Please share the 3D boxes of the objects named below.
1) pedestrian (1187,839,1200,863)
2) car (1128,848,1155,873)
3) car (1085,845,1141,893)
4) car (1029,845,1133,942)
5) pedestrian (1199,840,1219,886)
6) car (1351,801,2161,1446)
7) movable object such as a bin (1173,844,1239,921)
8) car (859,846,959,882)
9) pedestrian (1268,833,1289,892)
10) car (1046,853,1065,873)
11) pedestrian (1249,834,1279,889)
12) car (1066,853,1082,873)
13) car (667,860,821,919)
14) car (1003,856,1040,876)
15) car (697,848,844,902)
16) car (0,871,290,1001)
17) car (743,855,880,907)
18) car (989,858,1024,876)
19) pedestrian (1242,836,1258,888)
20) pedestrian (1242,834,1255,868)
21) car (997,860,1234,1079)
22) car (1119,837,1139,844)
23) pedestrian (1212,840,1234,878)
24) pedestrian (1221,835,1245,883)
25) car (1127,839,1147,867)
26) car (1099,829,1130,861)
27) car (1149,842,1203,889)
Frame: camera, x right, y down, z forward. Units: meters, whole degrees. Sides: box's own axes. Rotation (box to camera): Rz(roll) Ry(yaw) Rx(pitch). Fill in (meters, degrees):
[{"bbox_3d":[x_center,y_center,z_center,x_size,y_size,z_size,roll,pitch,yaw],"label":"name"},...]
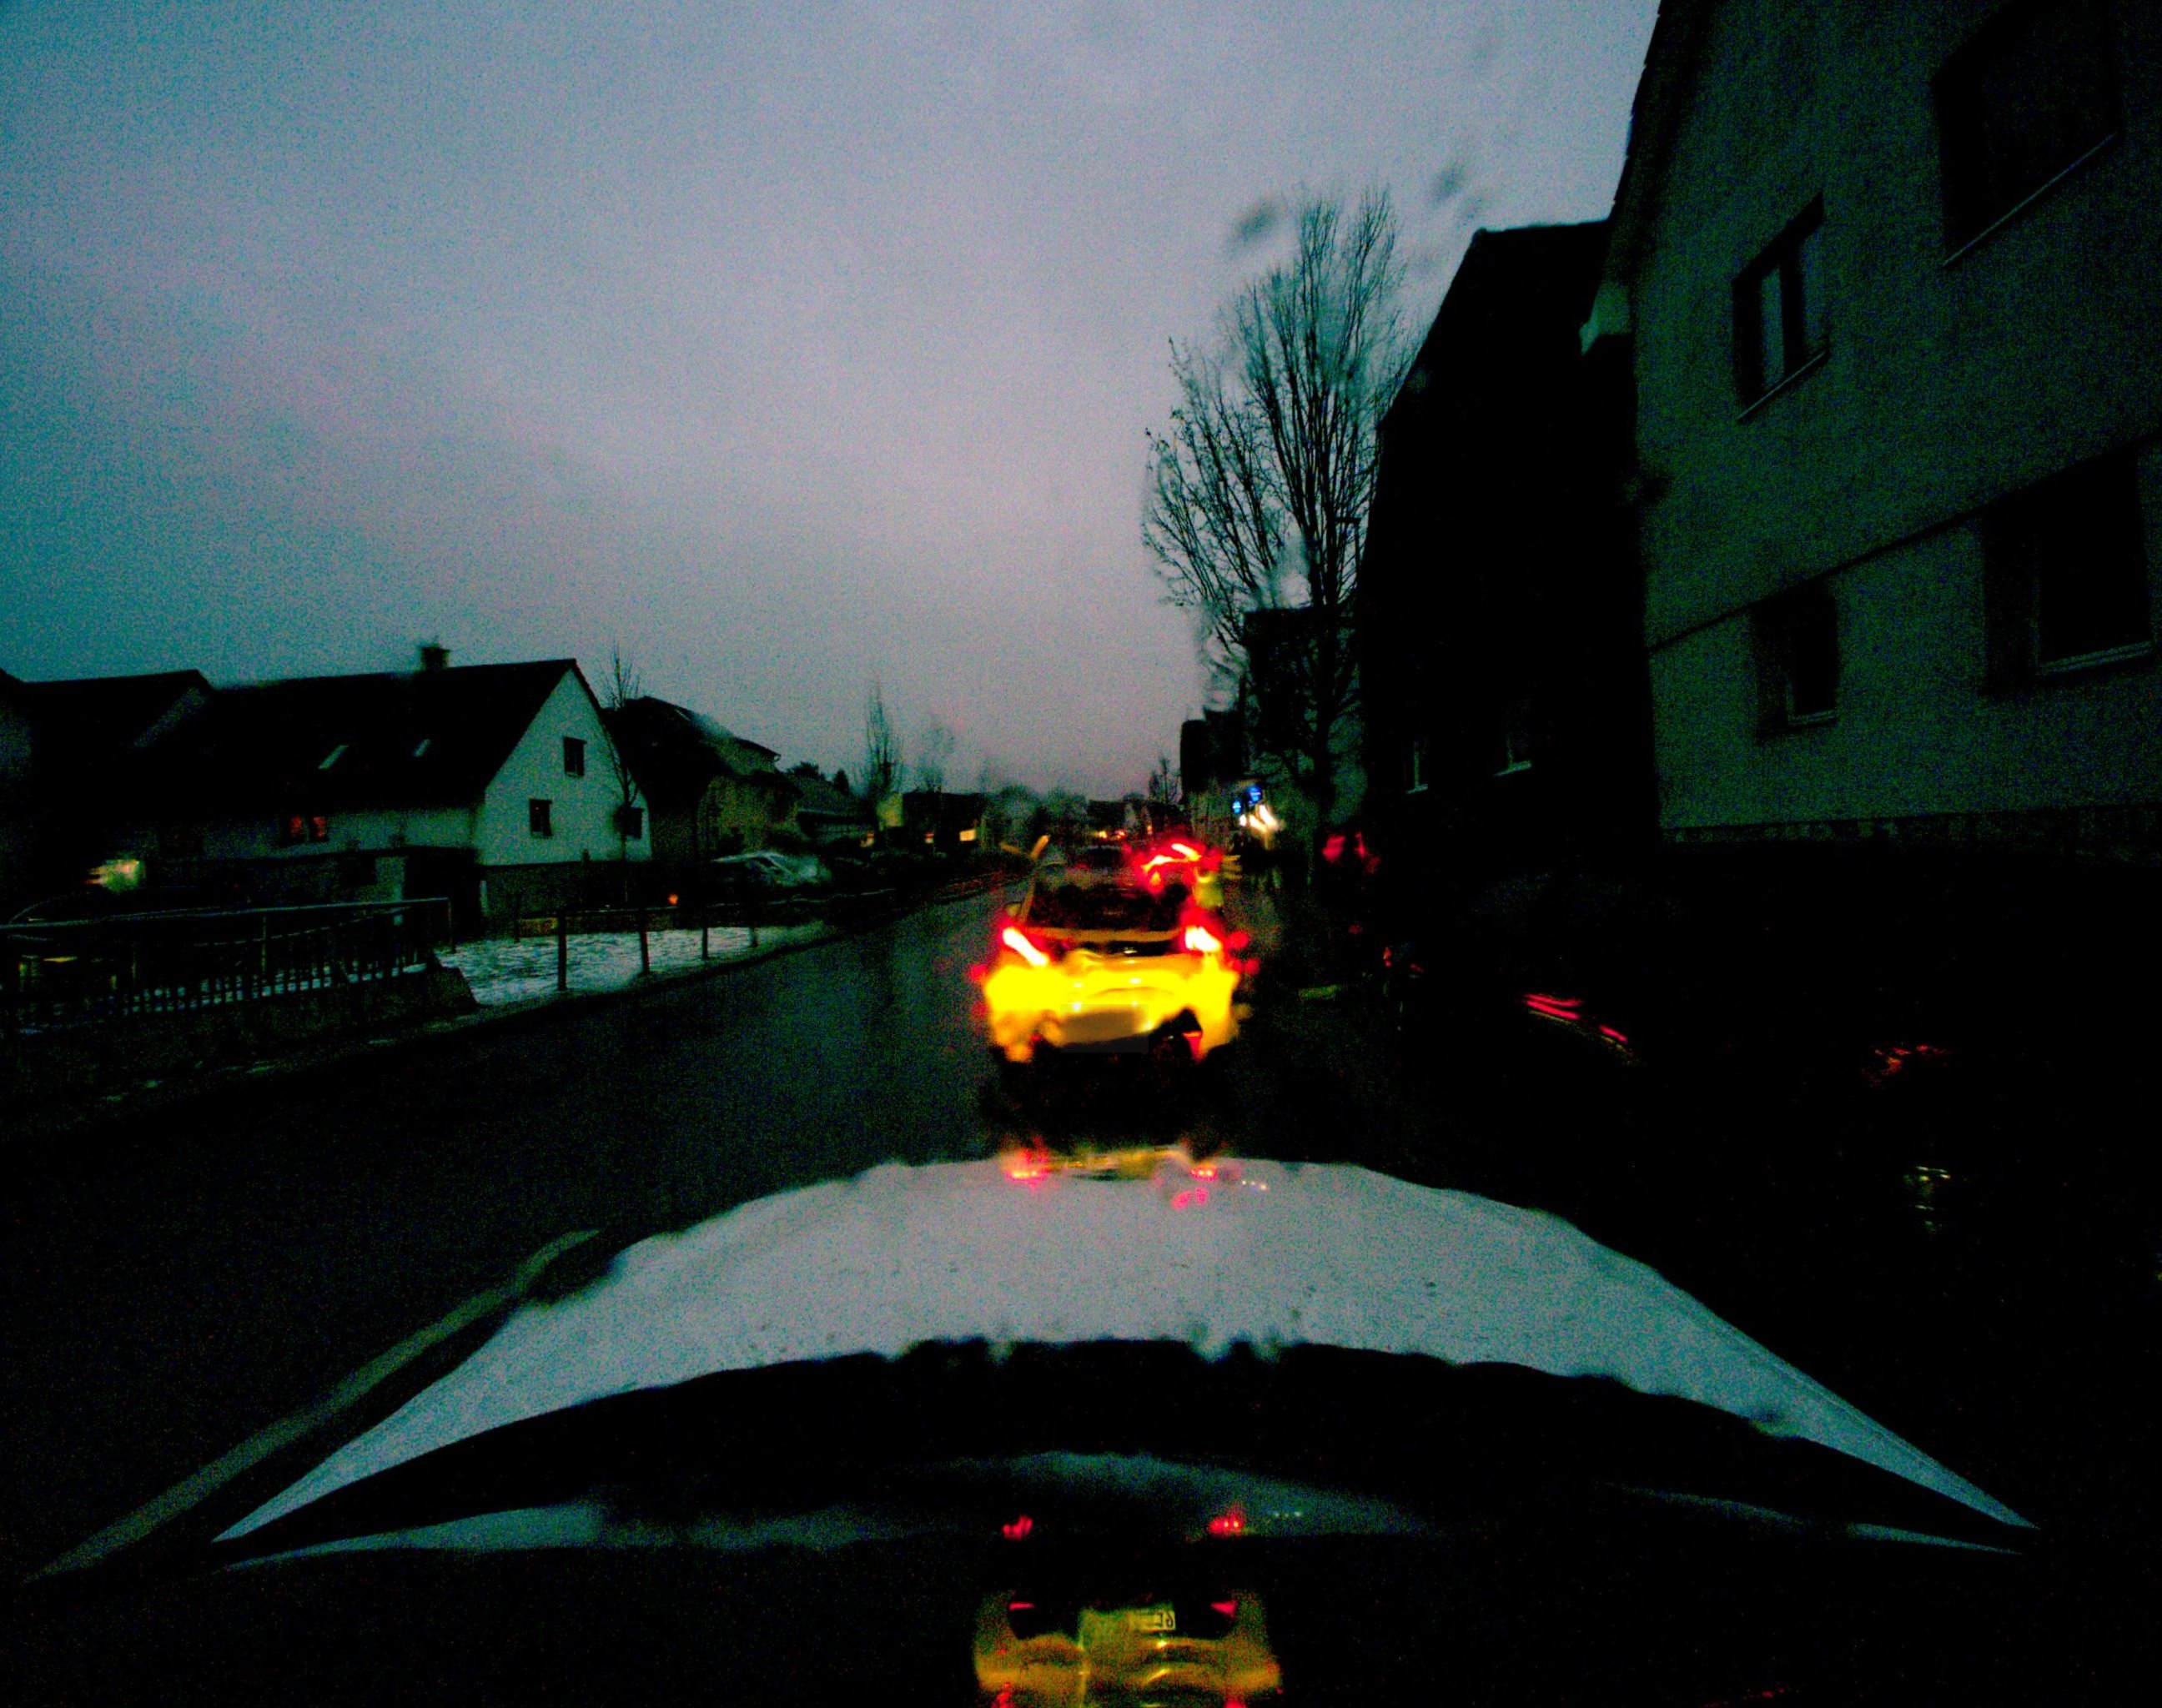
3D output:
[{"bbox_3d":[7.185,-0.199,52.127,0.618,1.515,0.731,-2,1,-12],"label":"pedestrian"},{"bbox_3d":[4.801,0.526,65.195,1.990,1.865,4.085,-1,-1,2],"label":"car"},{"bbox_3d":[0.945,0.408,24.460,1.535,1.331,3.312,-1,0,2],"label":"car"},{"bbox_3d":[0.058,0.663,15.616,1.760,1.628,3.587,-1,0,2],"label":"car"},{"bbox_3d":[4.961,0.344,31.551,0.571,1.699,0.653,-4,-1,3],"label":"pedestrian"},{"bbox_3d":[2.812,0.612,4.027,1.721,1.464,4.203,-5,0,4],"label":"car"},{"bbox_3d":[2.571,0.563,16.938,1.124,1.420,1.419,-5,1,4],"label":"movable object such as a bin"},{"bbox_3d":[-8.613,0.510,41.083,4.611,1.667,1.999,-1,-1,-1],"label":"car"},{"bbox_3d":[5.660,0.259,23.411,0.525,1.653,0.957,-1,-2,12],"label":"pedestrian"},{"bbox_3d":[-2.780,0.969,88.198,1.913,2.028,3.974,-1,-2,0],"label":"car"},{"bbox_3d":[5.886,0.237,26.253,0.743,1.679,1.054,-4,-1,8],"label":"pedestrian"},{"bbox_3d":[-0.812,1.042,95.843,1.913,2.216,3.974,-1,-2,0],"label":"car"},{"bbox_3d":[-9.067,0.931,22.092,3.432,1.372,1.601,-2,0,1],"label":"car"},{"bbox_3d":[-6.945,1.445,95.034,2.011,2.167,4.331,2,-3,-44],"label":"car"},{"bbox_3d":[-9.396,0.638,24.803,3.772,1.523,1.718,-1,-1,8],"label":"car"},{"bbox_3d":[-14.231,1.116,11.266,1.794,1.482,4.577,-4,1,4],"label":"car"},{"bbox_3d":[-9.065,0.905,27.540,4.074,1.608,1.589,-1,-1,5],"label":"car"},{"bbox_3d":[-8.394,1.487,91.596,1.833,1.976,4.117,2,-3,-44],"label":"car"},{"bbox_3d":[5.900,0.264,28.402,0.525,1.800,0.867,-1,0,12],"label":"pedestrian"},{"bbox_3d":[8.773,-0.154,42.600,0.614,1.727,0.503,-1,-2,13],"label":"pedestrian"},{"bbox_3d":[0.282,0.780,6.916,1.557,1.412,3.019,-1,0,2],"label":"car"},{"bbox_3d":[9.047,-2.507,153.106,3.557,1.288,1.329,-1,-2,6],"label":"car"},{"bbox_3d":[6.117,0.206,35.026,0.618,1.626,0.903,-2,1,-11],"label":"pedestrian"},{"bbox_3d":[5.649,0.177,30.227,0.707,1.715,1.039,-3,0,15],"label":"pedestrian"},{"bbox_3d":[5.291,-0.041,77.587,1.862,2.469,4.447,-1,-2,3],"label":"car"},{"bbox_3d":[3.561,-0.903,86.648,3.178,3.032,6.307,-1,-2,2],"label":"car"},{"bbox_3d":[3.805,0.443,33.201,1.729,1.692,4.387,-2,0,1],"label":"car"}]
